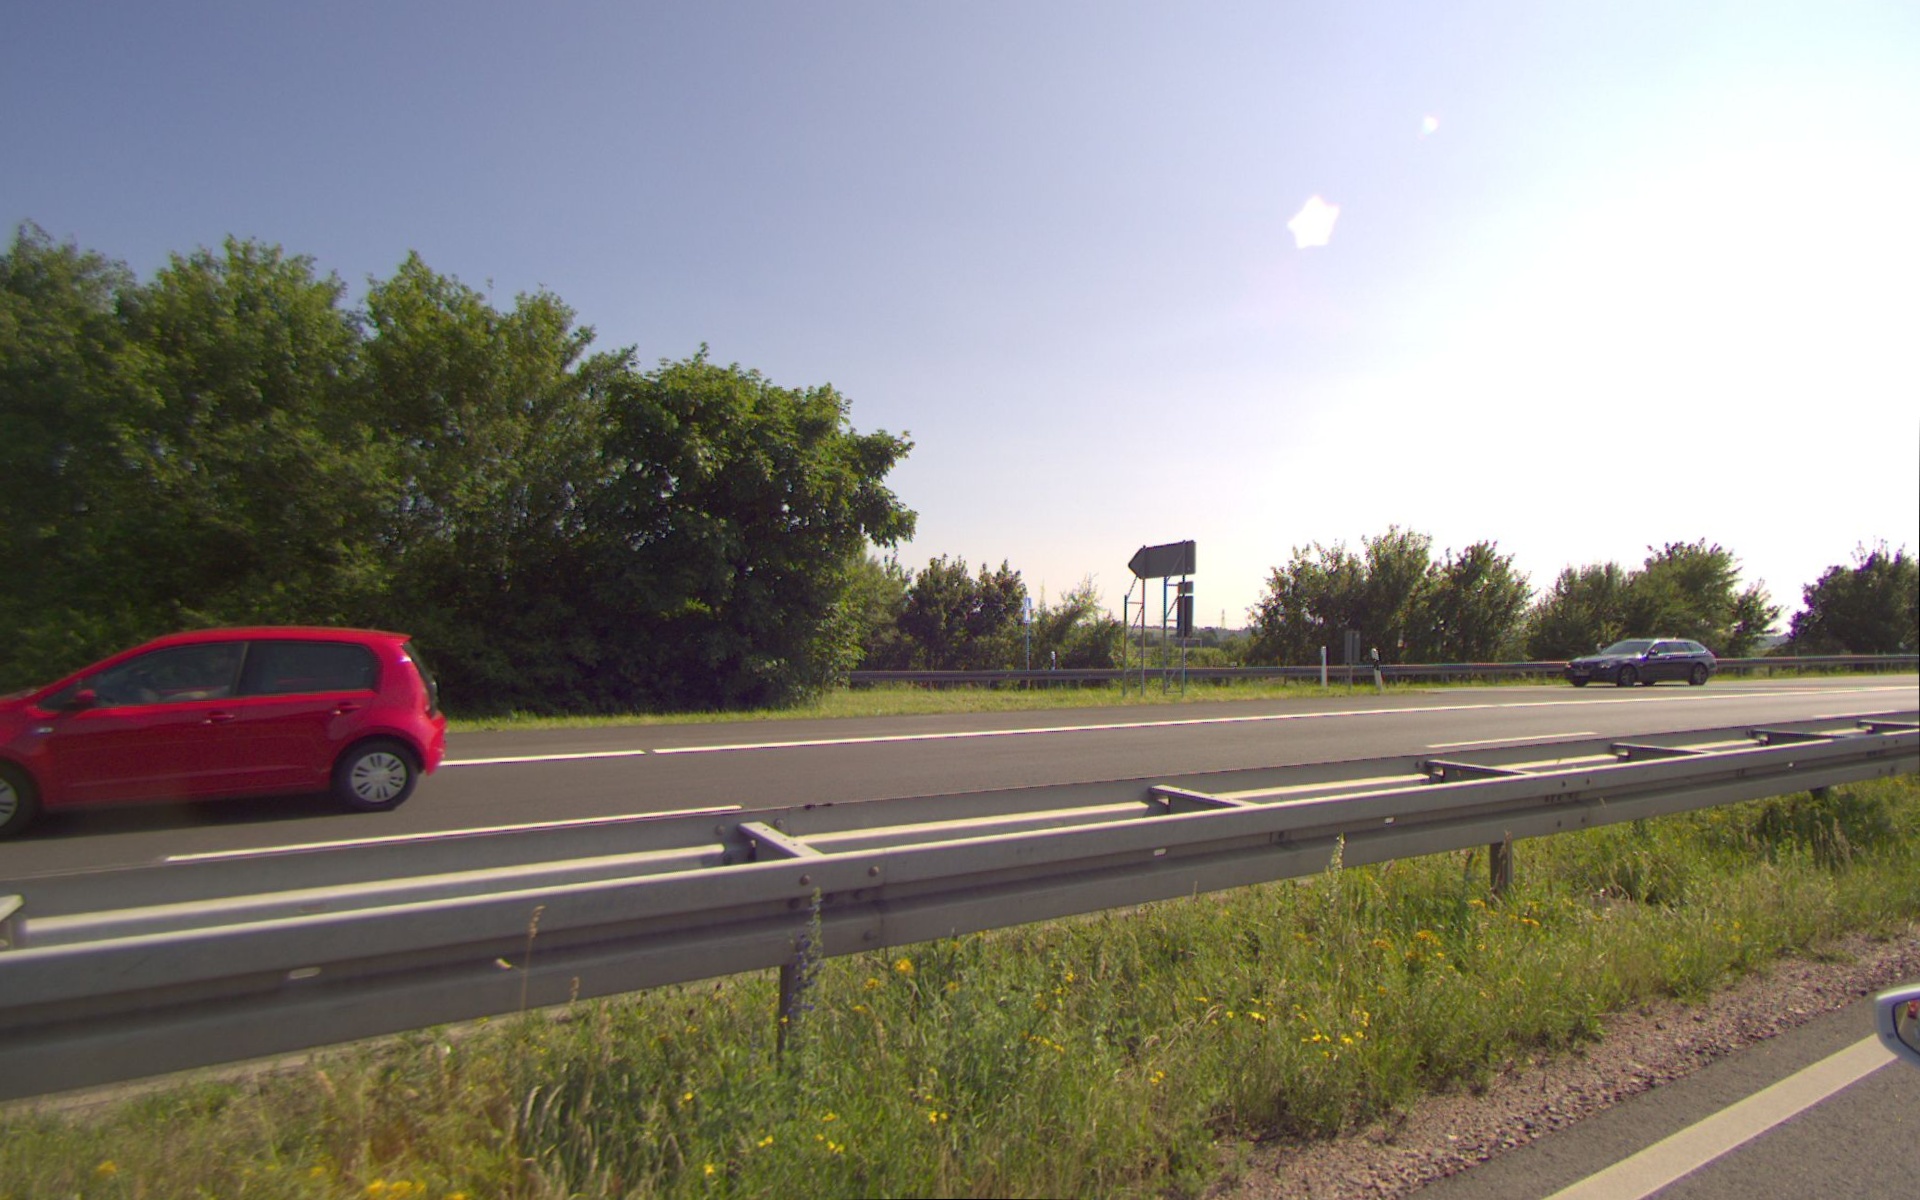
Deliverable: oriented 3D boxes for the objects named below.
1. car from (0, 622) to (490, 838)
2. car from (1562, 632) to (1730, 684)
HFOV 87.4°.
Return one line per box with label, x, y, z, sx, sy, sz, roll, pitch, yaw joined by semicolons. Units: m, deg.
car;-5.996;0.929;8.291;3.724;1.477;1.621;0;-1;-31
car;21.504;1.814;31.500;4.734;1.513;1.594;0;-5;-15
